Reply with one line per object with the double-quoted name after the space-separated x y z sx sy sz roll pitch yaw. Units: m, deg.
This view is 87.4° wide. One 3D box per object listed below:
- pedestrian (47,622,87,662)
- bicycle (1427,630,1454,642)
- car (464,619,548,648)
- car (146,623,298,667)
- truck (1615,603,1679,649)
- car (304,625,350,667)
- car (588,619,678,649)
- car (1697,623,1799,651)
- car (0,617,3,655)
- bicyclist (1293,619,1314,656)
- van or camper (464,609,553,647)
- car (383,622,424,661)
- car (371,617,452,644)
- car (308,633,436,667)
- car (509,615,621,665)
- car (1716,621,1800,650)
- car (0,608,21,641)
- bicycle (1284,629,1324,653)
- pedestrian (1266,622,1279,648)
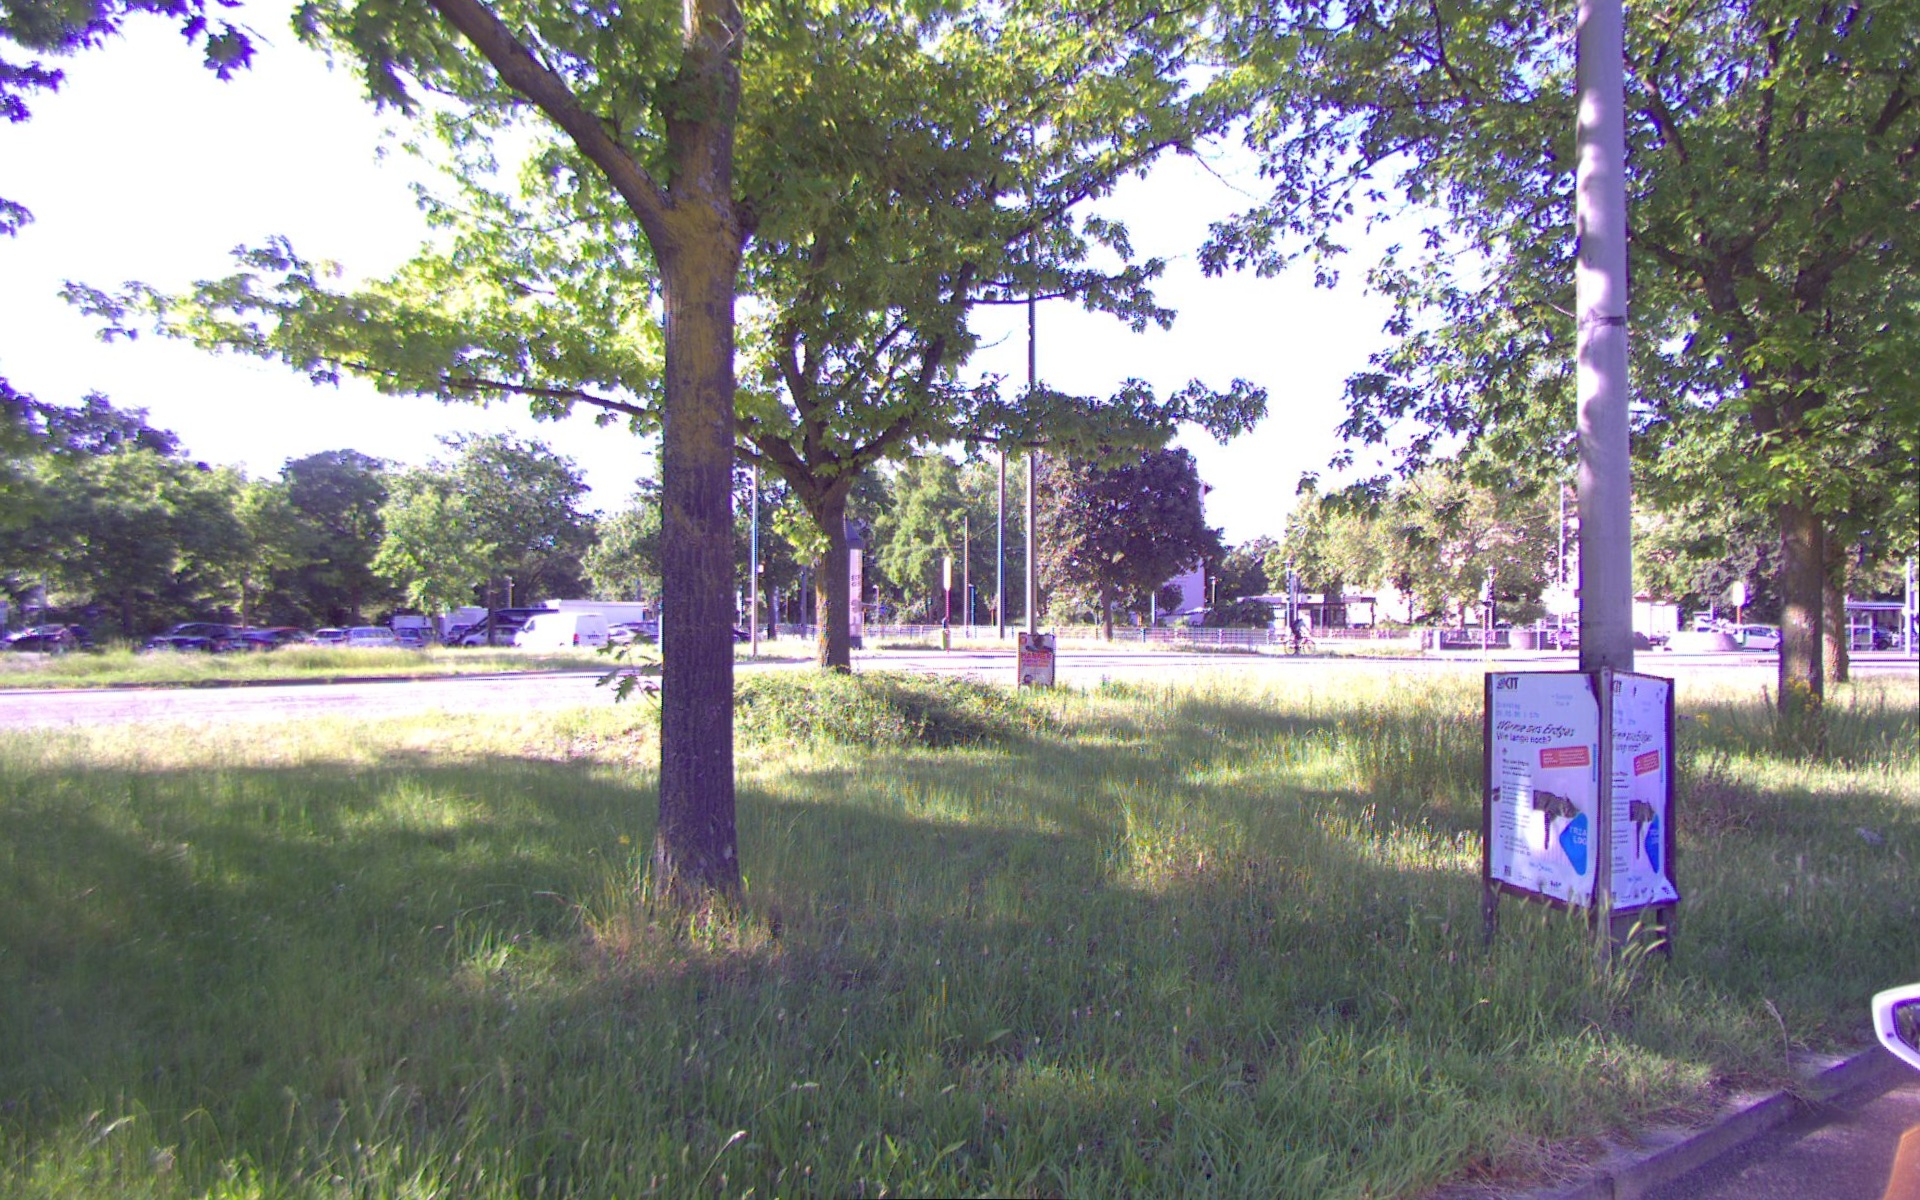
-32.627 1.528 36.715 0.863 1.437 0.994 1 -1 -30 "pedestrian"
34.558 2.562 72.268 1.652 0.850 0.548 0 -1 18 "bicycle"
-25.144 1.847 55.744 3.932 1.493 1.963 0 1 -14 "car"
-26.078 1.579 35.623 3.929 1.467 1.819 1 -1 -11 "car"
46.750 1.734 68.480 1.959 3.035 4.831 0 0 13 "truck"
-29.580 2.117 47.034 1.635 1.628 3.854 1 2 -30 "car"
-15.036 1.524 46.156 3.934 1.299 1.994 0 -1 35 "car"
47.936 2.225 61.211 4.457 1.565 1.873 0 2 14 "car"
-39.329 1.345 37.713 1.964 1.483 4.548 2 0 30 "car"
15.040 1.640 43.968 0.665 1.551 0.612 -1 1 -16 "bicyclist"
-26.022 1.593 58.060 4.326 2.124 1.995 1 -1 -14 "van or camper"
-27.212 1.978 49.184 1.633 1.628 3.857 1 2 -27 "car"
-32.099 1.768 58.899 3.943 1.530 1.989 1 -1 -23 "car"
-21.896 1.839 37.450 3.962 1.143 1.803 1 -1 -37 "car"
-17.260 1.685 43.820 4.917 2.040 2.232 0 -1 35 "car"
50.342 2.229 63.424 3.922 1.741 1.763 0 2 -3 "car"
-54.826 1.335 55.434 4.097 1.824 1.980 1 -1 -36 "car"
15.056 1.798 43.968 1.631 1.014 0.612 1 -1 -16 "bicycle"
22.622 2.537 72.770 0.714 1.853 0.559 1 -1 -9 "pedestrian"
